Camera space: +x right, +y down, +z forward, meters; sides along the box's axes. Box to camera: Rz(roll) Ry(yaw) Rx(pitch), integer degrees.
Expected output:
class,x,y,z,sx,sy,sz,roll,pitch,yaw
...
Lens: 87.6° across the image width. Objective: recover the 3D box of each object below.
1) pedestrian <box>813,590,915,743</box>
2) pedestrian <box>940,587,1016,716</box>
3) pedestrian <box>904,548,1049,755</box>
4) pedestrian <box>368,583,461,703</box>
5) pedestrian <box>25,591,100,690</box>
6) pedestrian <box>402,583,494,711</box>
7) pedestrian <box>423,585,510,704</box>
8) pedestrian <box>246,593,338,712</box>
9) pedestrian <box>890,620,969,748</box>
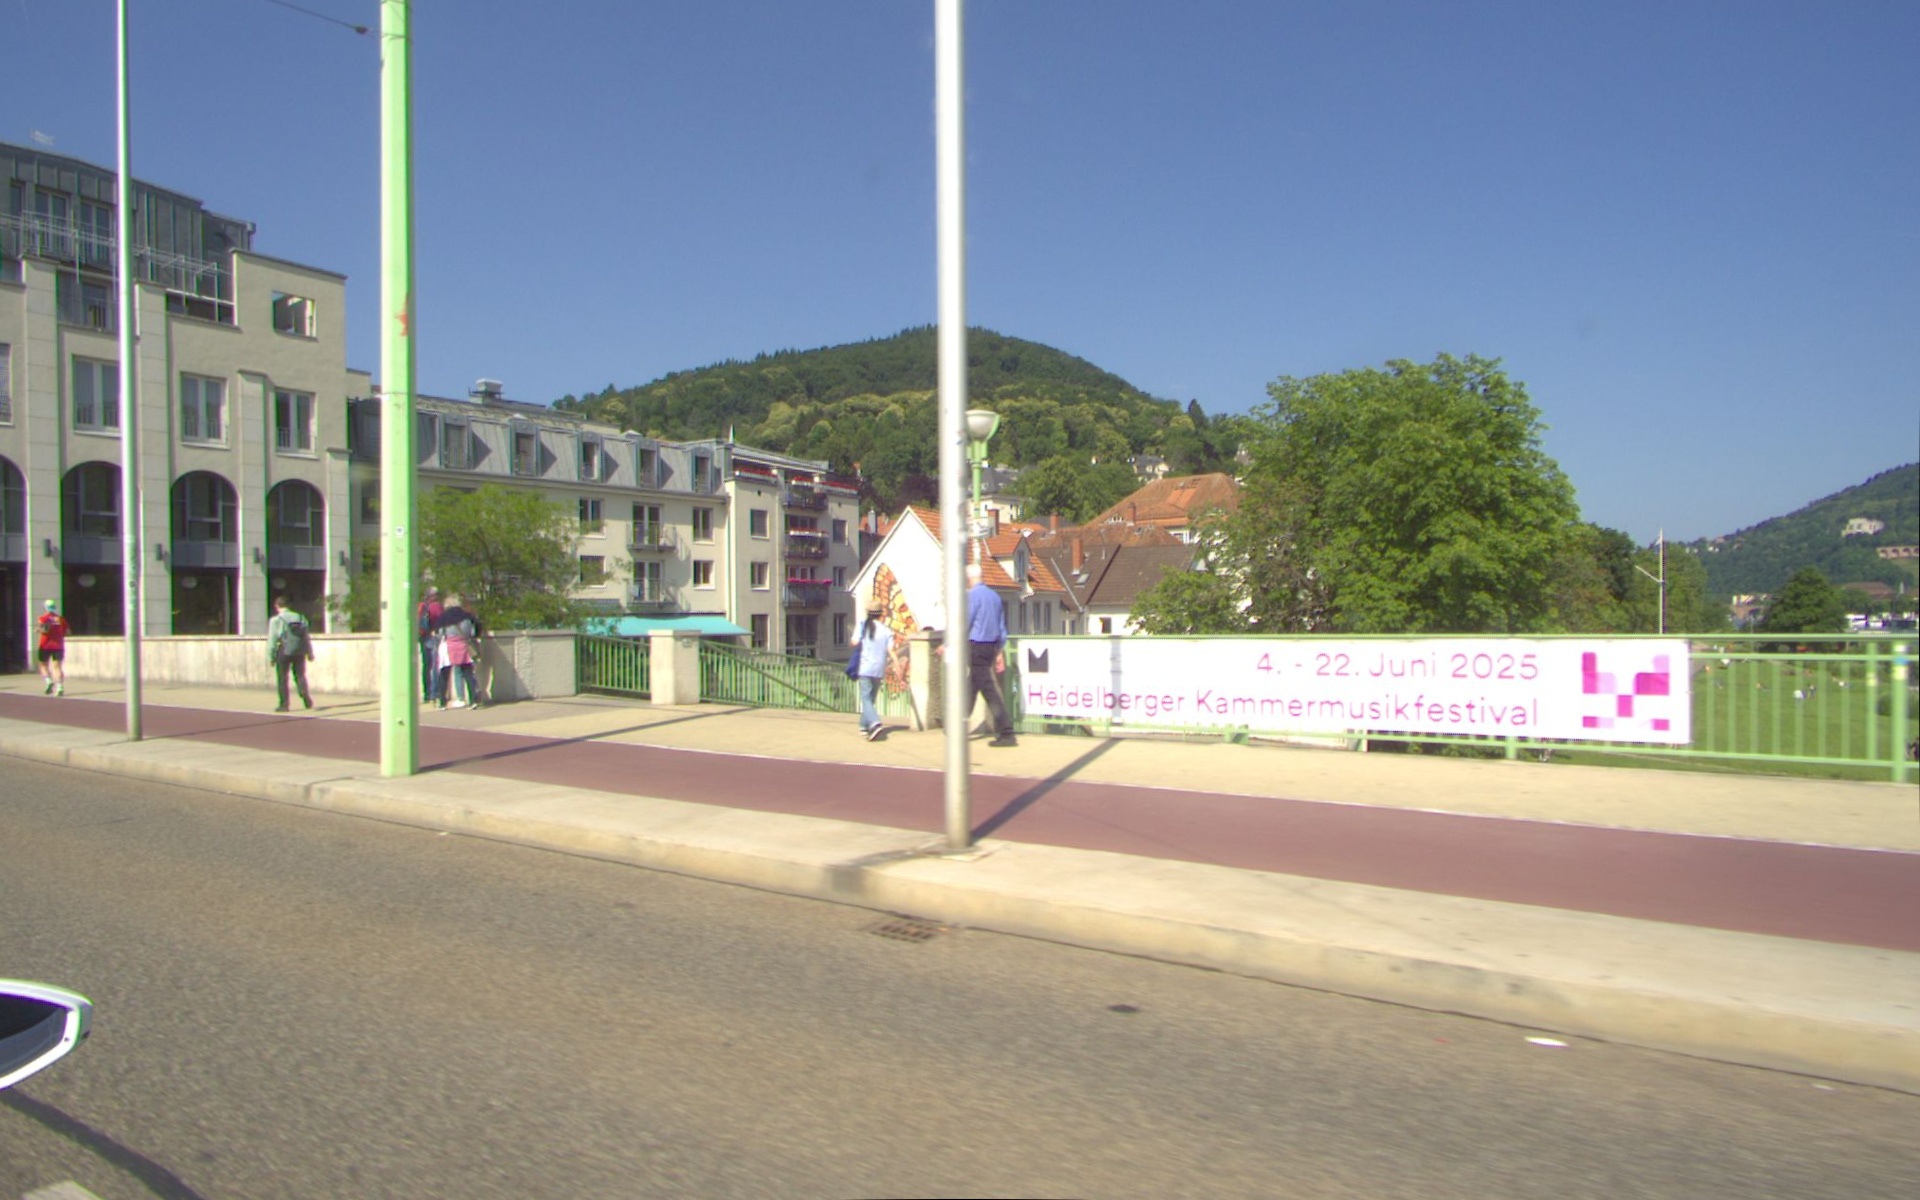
class,x,y,z,sx,sy,sz,roll,pitch,yaw
pedestrian,-1.049,0.678,10.810,0.818,1.550,0.930,-2,1,-23
pedestrian,0.265,0.698,14.111,0.729,1.741,1.012,-1,0,24
pedestrian,0.173,0.488,10.024,1.121,1.923,0.924,-1,1,32
pedestrian,-8.647,0.652,15.888,0.731,1.826,1.010,-1,1,31
pedestrian,-18.132,0.802,20.224,1.111,1.950,0.809,-1,1,32
pedestrian,-7.501,0.666,14.674,1.001,1.801,0.737,-1,2,31
pedestrian,-7.643,0.666,15.510,1.001,1.770,0.738,-1,2,31
pedestrian,-10.218,0.774,15.314,1.058,1.741,0.753,-1,2,32
pedestrian,-0.426,1.177,14.486,0.729,1.741,1.012,-1,1,25
